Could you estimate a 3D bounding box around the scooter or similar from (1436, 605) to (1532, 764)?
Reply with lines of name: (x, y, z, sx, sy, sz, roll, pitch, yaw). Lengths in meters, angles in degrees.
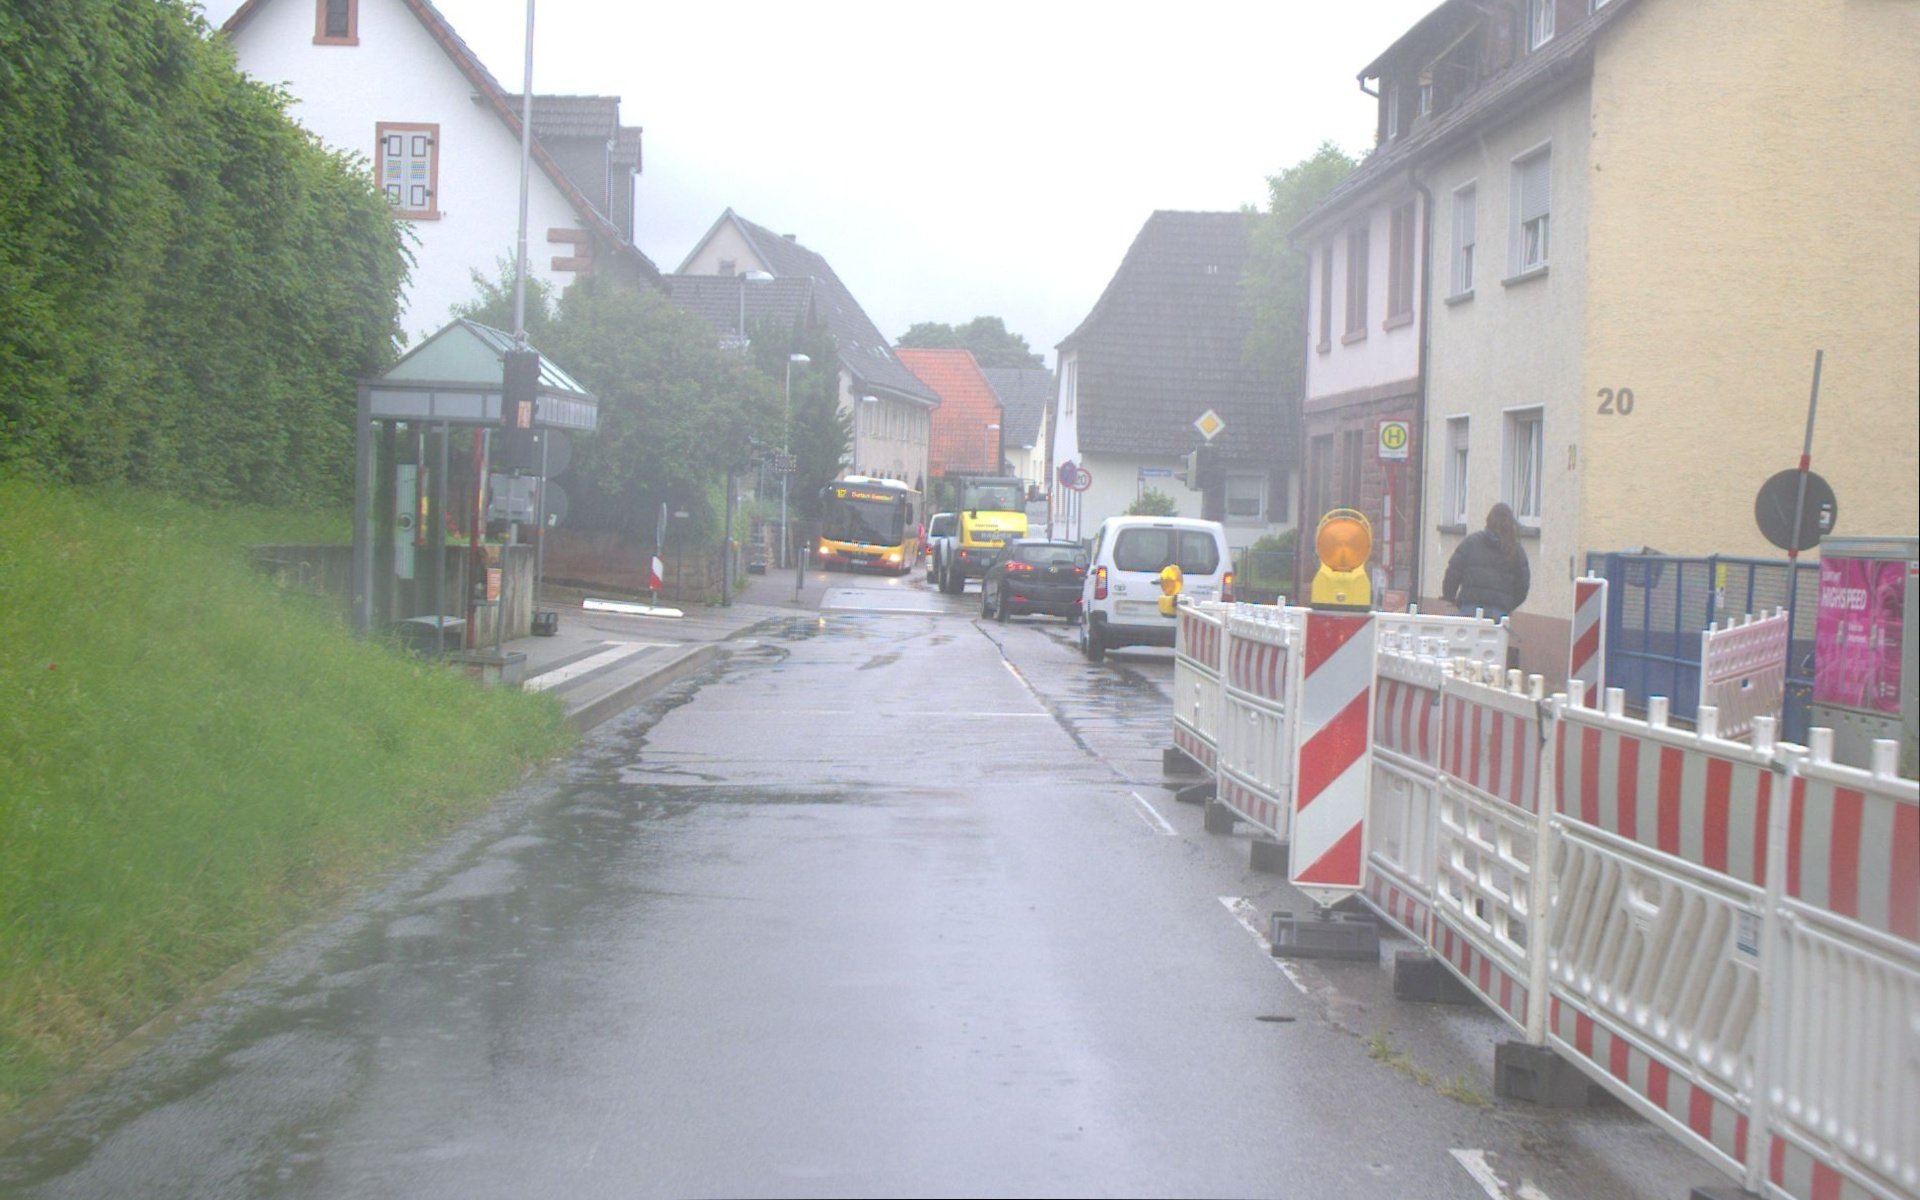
scooter or similar: (3.944, 0.618, 25.932, 0.620, 1.123, 1.401, 2, 1, 7)

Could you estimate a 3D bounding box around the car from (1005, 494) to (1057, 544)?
car: (2.944, -3.341, 142.686, 1.994, 2.007, 4.000, 0, 1, 3)

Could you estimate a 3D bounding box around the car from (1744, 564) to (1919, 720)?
car: (9.683, 0.504, 32.144, 4.144, 1.297, 1.912, 5, 1, -1)

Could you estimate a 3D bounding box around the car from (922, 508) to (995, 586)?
car: (-0.026, -1.488, 95.590, 1.727, 2.000, 3.974, 3, 1, 3)

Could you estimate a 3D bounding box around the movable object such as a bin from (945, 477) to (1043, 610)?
movable object such as a bin: (0.683, -1.210, 72.677, 1.727, 2.644, 3.975, 3, 1, -2)

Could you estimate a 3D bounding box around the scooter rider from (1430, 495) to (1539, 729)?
scooter rider: (3.963, 0.089, 26.004, 0.731, 1.727, 0.518, 2, 1, 7)

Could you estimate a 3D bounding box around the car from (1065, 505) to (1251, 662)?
car: (2.437, -0.248, 43.263, 1.894, 1.787, 3.814, 3, 1, -2)

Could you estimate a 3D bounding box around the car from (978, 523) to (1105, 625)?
car: (1.366, -0.474, 59.259, 1.809, 1.591, 3.756, 3, 1, -3)

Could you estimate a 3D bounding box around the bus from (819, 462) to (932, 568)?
bus: (-2.592, -2.808, 109.916, 2.650, 2.989, 12.193, 3, 3, 2)
